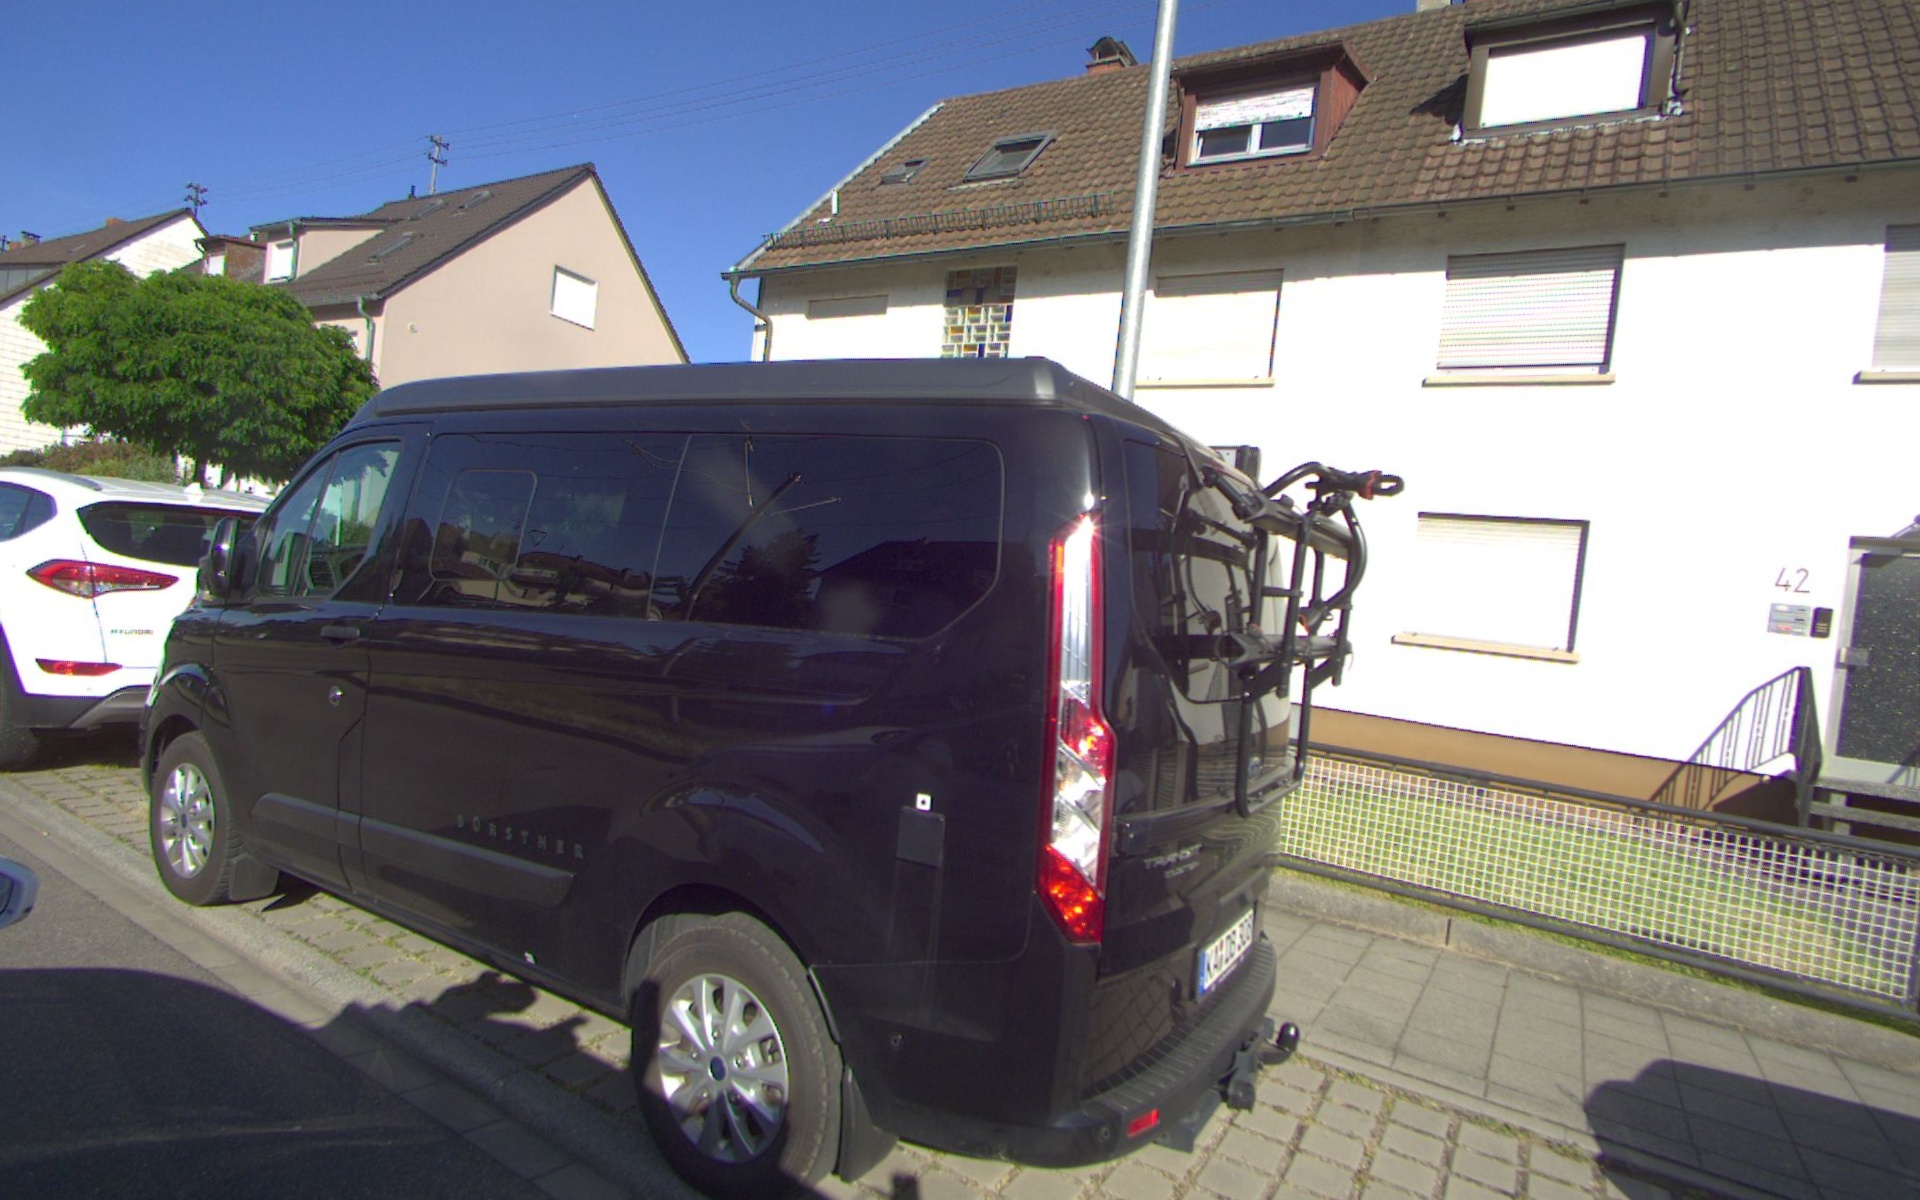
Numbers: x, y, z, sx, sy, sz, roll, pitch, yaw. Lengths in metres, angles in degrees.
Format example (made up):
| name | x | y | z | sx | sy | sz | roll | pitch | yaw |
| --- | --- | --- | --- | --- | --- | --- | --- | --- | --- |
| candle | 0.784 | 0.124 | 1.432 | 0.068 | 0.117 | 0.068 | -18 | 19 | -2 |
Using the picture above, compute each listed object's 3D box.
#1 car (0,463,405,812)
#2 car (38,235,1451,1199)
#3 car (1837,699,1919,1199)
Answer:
| name | x | y | z | sx | sy | sz | roll | pitch | yaw |
| --- | --- | --- | --- | --- | --- | --- | --- | --- | --- |
| car | -5.788 | 0.028 | 6.675 | 4.247 | 1.666 | 1.727 | 7 | 1 | 32 |
| car | -1.225 | 0.288 | 3.861 | 5.247 | 2.172 | 1.961 | 7 | 1 | 32 |
| car | 4.409 | 1.257 | 0.582 | 5.521 | 1.463 | 1.853 | 7 | 2 | 33 |
